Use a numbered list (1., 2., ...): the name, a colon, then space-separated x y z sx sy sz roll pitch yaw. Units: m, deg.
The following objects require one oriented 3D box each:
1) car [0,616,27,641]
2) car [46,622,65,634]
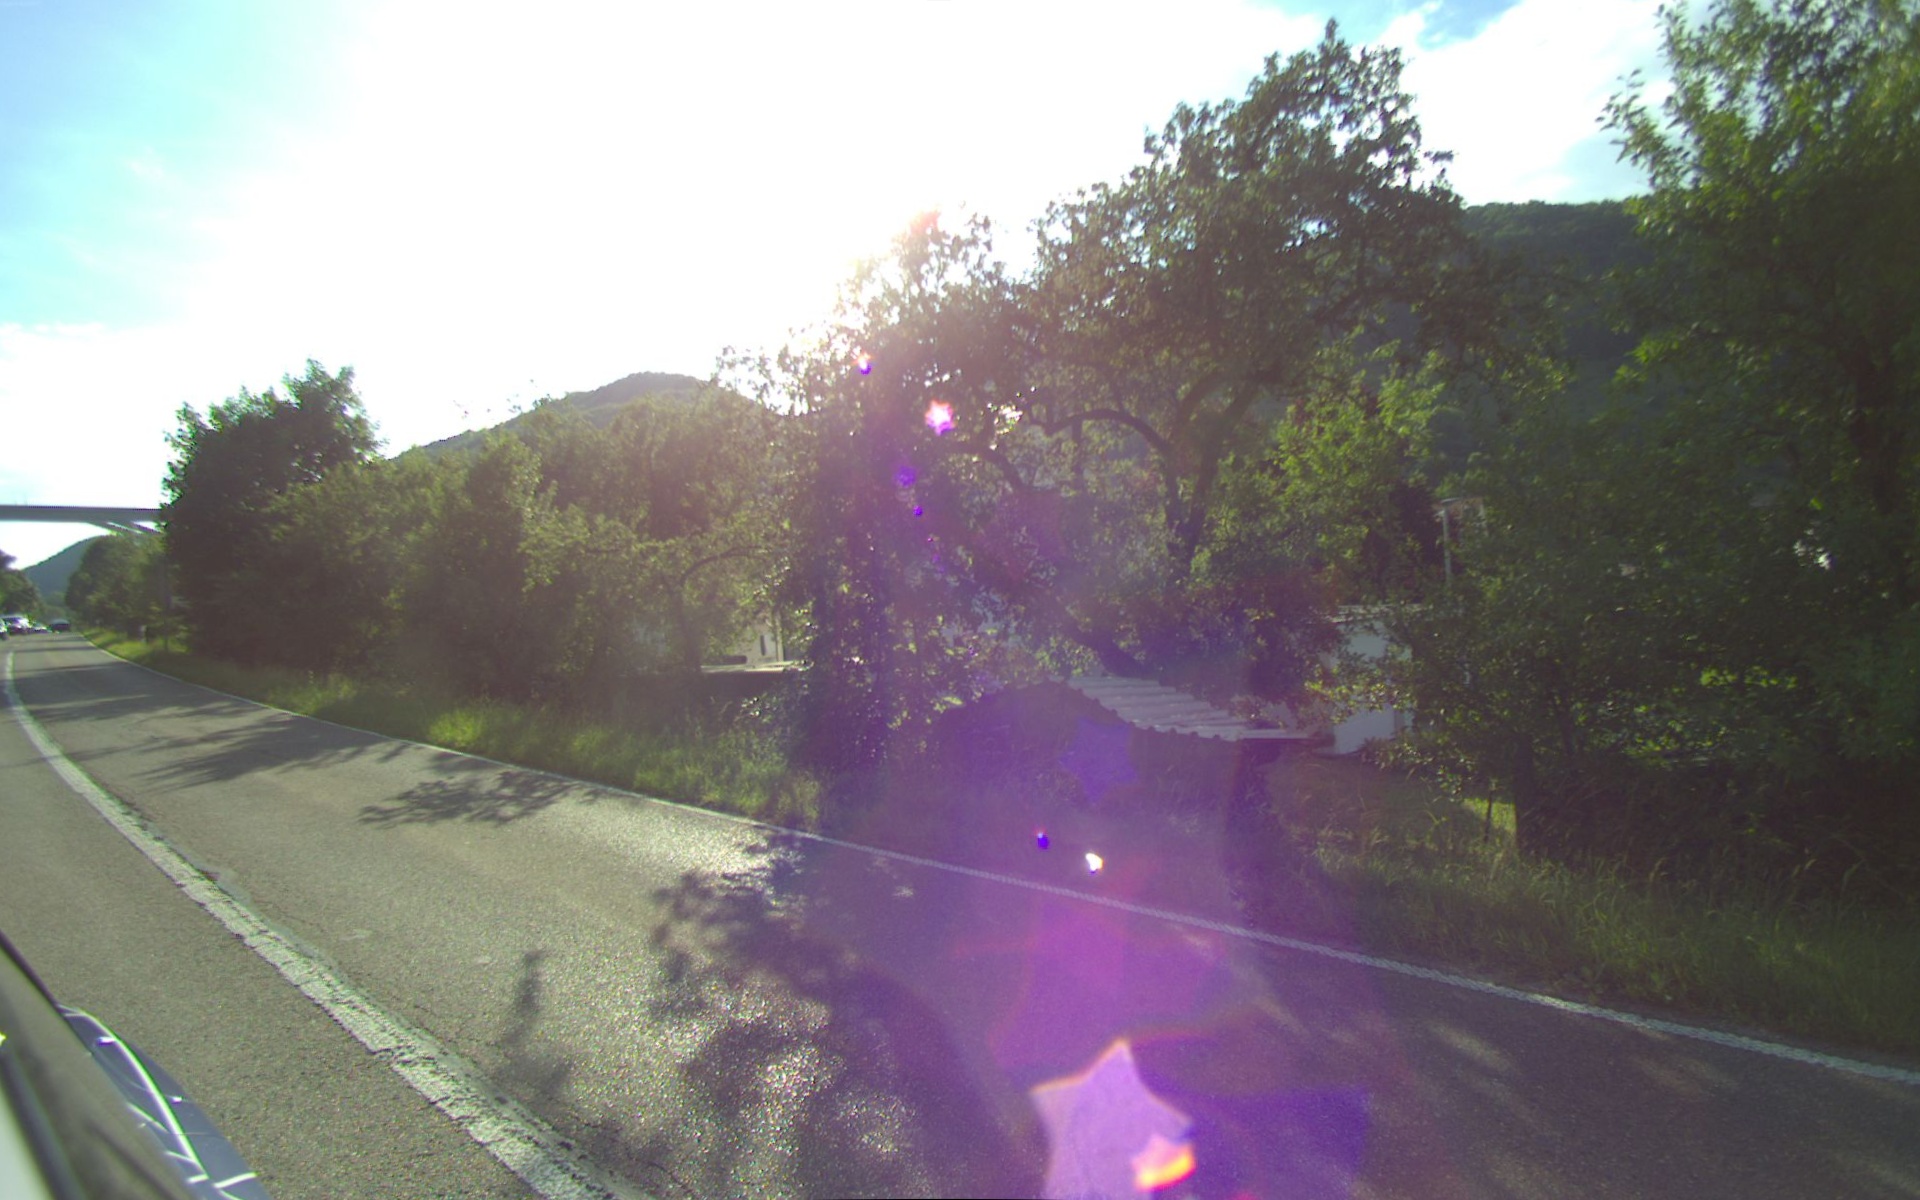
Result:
1. car: -80.782 2.403 86.069 1.970 2.029 4.003 -1 0 -44
2. car: -102.886 3.174 115.160 1.575 1.364 4.208 -1 0 -42
